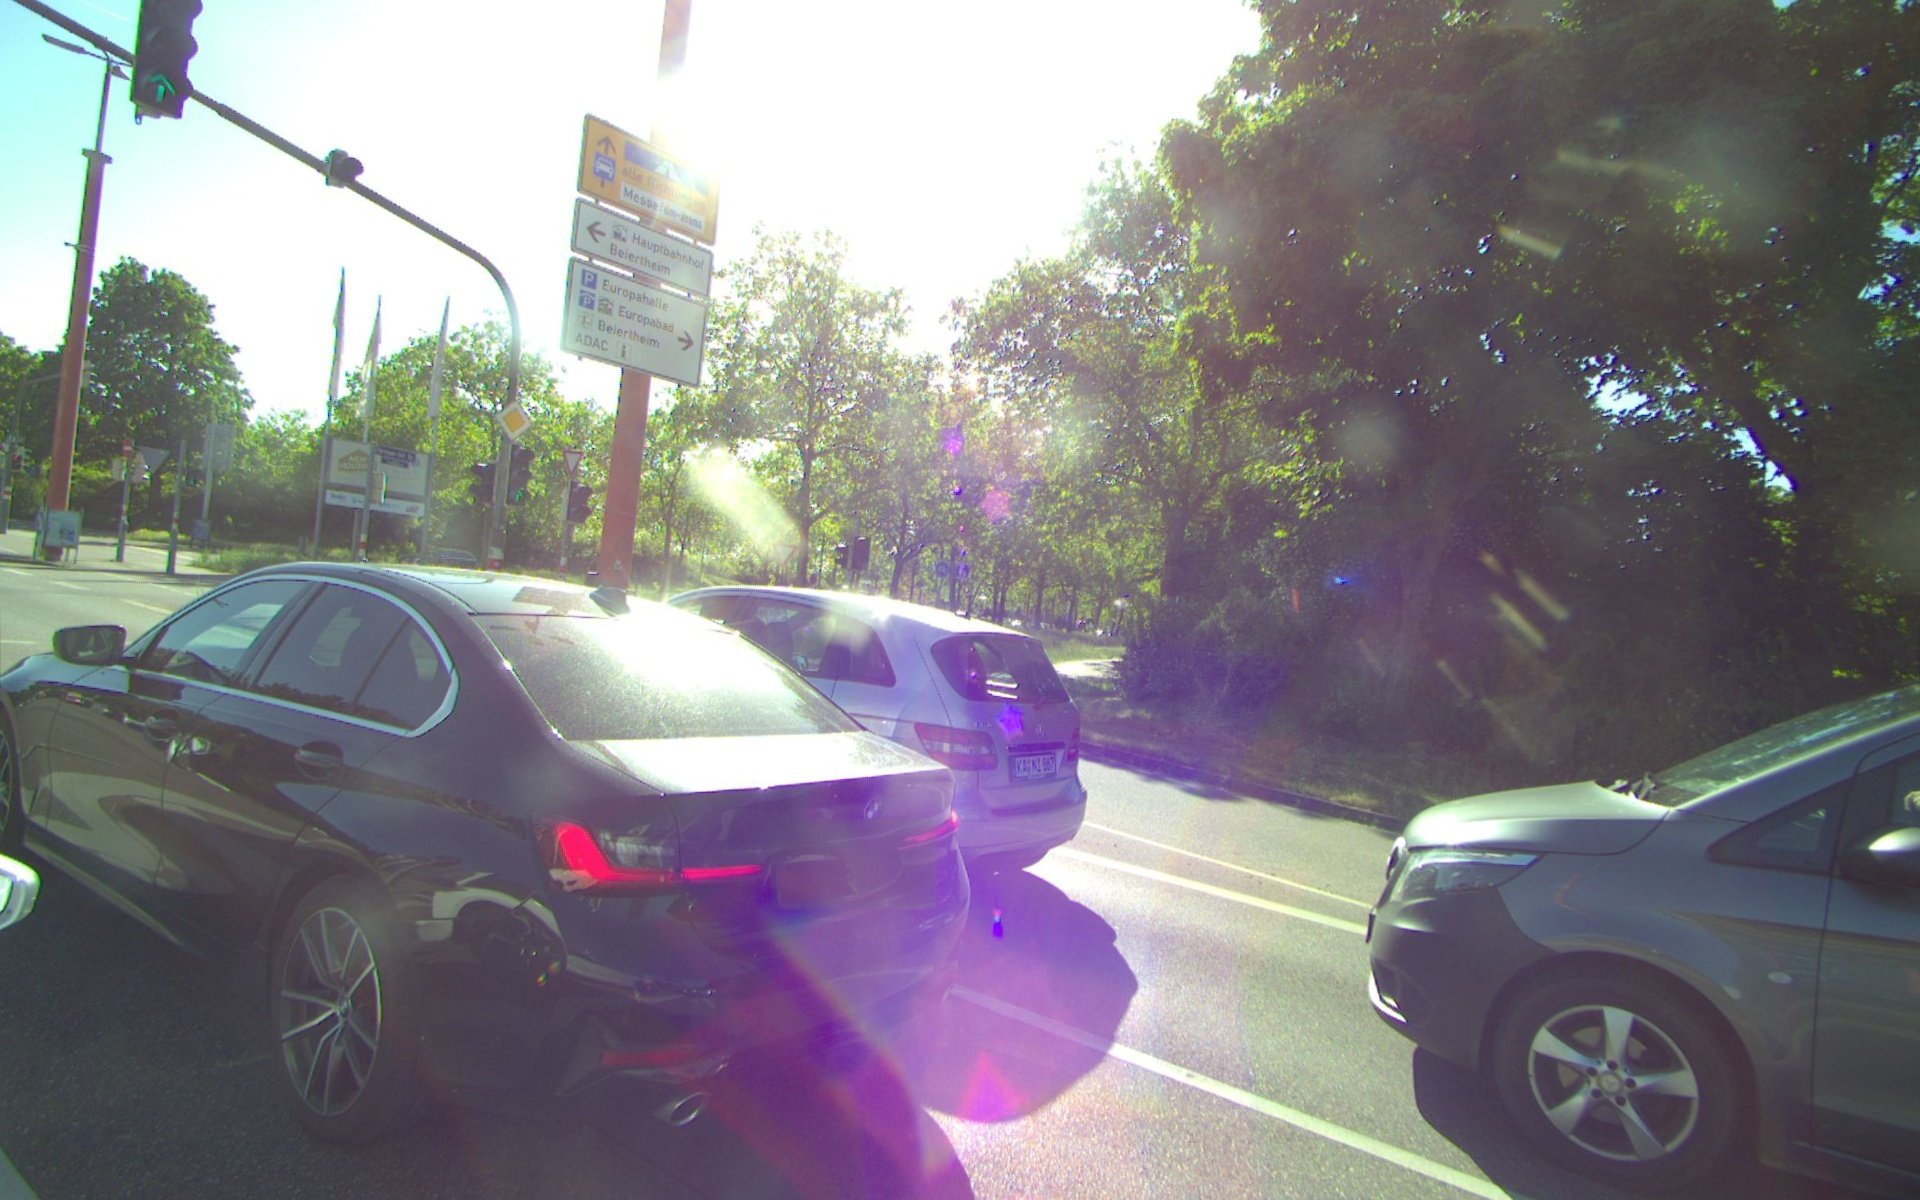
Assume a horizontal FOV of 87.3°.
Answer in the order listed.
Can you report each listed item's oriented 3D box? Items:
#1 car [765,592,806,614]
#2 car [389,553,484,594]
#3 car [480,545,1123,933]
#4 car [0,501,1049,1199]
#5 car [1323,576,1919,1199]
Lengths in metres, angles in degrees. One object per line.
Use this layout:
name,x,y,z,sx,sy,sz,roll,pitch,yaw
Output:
car,-16.925,0.323,97.752,1.737,1.655,4.297,7,-1,23
car,-29.534,-1.460,56.822,1.746,1.654,4.278,6,-3,44
car,-1.115,0.694,6.535,3.784,1.626,1.719,6,-2,32
car,-2.007,0.575,3.820,4.226,1.458,1.766,6,-2,34
car,4.012,1.154,3.084,5.021,1.875,1.806,7,0,34
